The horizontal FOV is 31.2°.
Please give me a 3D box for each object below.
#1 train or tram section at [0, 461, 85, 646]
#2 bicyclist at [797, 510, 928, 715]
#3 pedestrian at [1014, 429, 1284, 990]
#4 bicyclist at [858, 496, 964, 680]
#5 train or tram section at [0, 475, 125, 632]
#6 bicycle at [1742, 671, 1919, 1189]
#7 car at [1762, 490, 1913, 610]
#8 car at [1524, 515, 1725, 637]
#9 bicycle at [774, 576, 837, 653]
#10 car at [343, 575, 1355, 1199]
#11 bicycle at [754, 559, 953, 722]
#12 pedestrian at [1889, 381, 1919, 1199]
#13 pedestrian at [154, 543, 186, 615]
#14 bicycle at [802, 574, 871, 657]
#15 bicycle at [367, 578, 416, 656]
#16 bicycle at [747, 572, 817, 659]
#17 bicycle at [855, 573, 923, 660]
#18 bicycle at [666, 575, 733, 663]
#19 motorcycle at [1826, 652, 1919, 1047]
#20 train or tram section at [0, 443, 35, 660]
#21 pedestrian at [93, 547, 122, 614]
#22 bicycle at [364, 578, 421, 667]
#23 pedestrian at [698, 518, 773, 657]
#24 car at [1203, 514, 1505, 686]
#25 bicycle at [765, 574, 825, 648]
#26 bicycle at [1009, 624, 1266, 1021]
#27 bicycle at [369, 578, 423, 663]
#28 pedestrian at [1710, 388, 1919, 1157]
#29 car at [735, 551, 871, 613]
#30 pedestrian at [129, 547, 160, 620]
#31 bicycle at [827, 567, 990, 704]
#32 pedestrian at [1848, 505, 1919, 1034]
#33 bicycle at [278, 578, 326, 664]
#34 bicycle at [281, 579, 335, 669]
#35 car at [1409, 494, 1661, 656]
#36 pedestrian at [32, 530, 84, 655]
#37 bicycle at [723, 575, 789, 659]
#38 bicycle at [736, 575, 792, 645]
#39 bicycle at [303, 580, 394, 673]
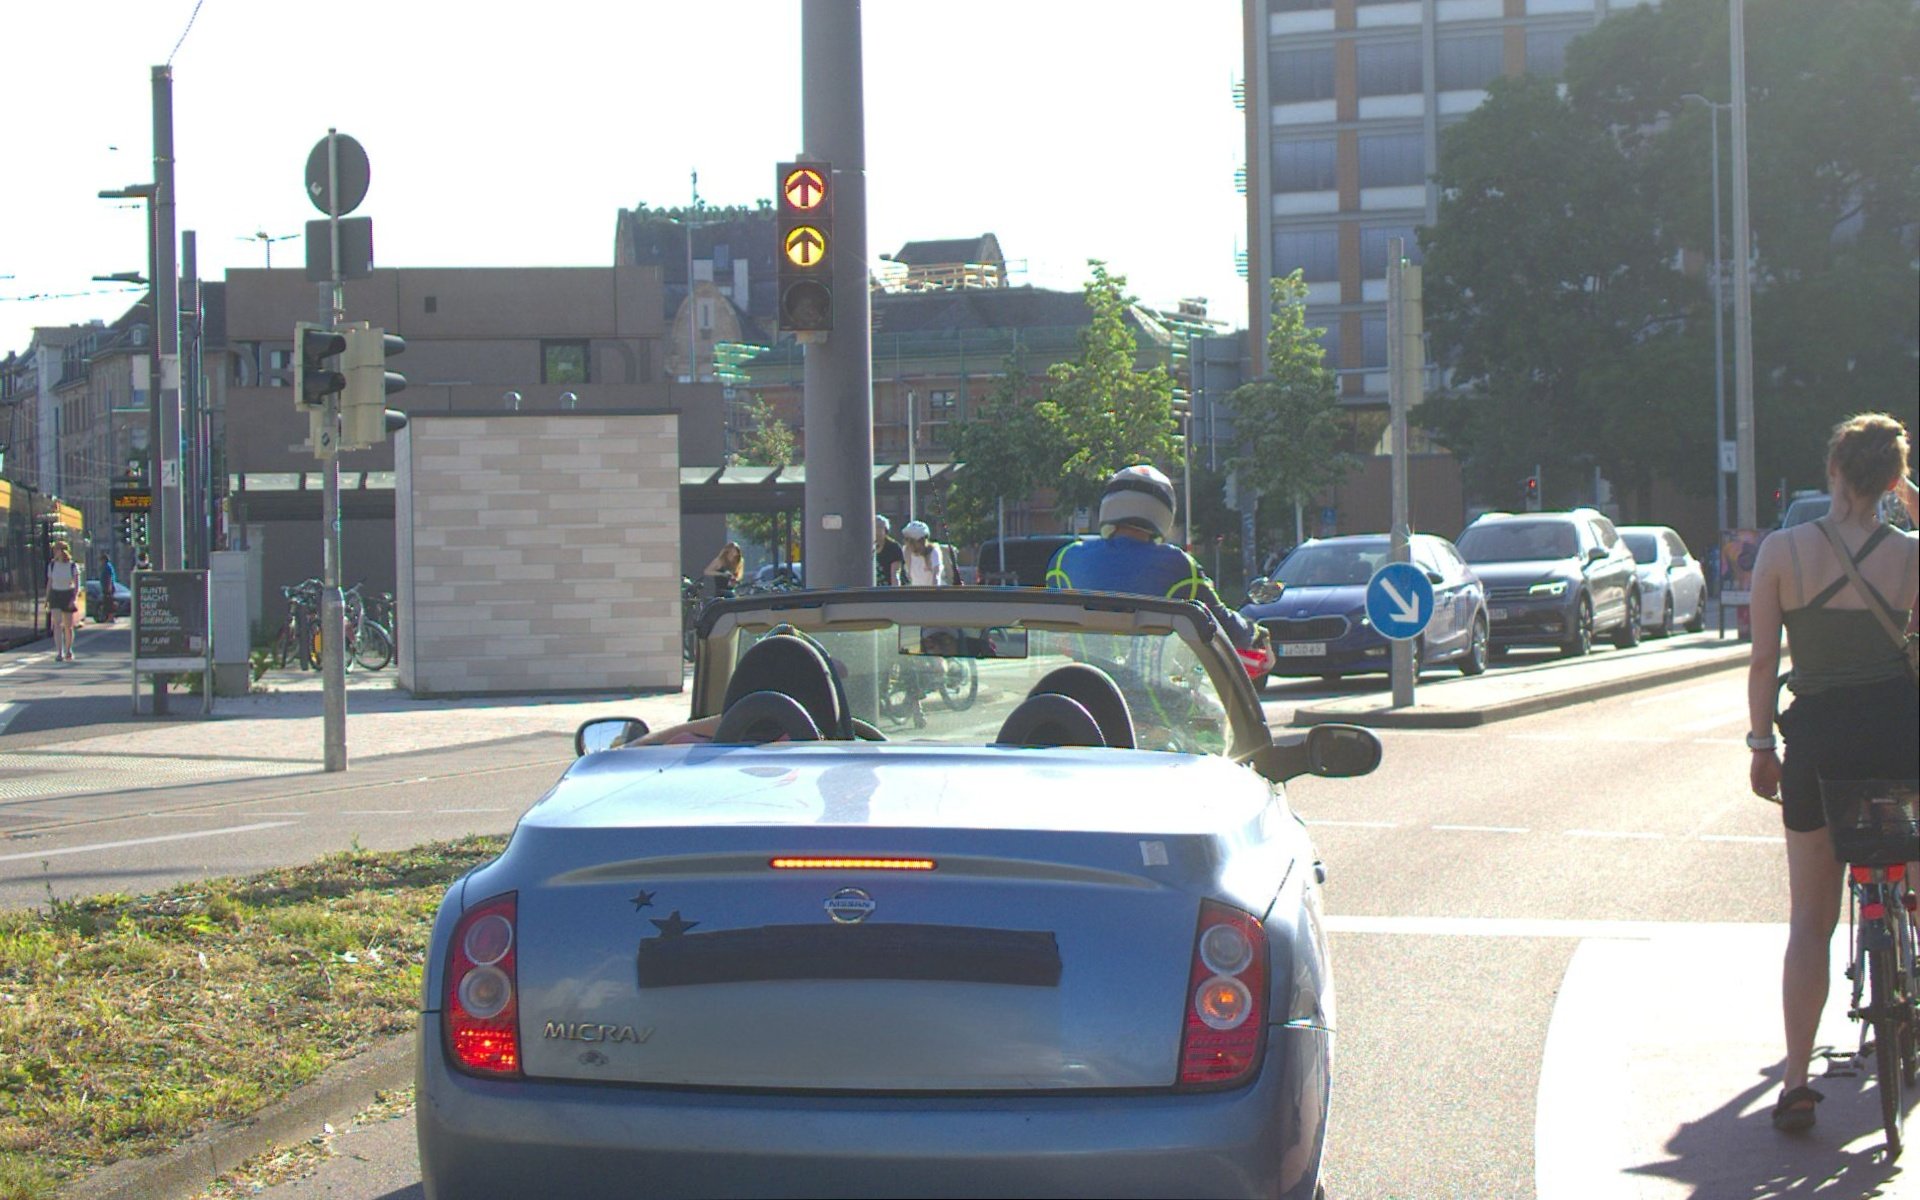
[{"bbox_3d":[-20.508,-0.996,72.673,3.011,3.584,12.203,1,1,-10],"label":"train or tram section"},{"bbox_3d":[-0.813,0.097,28.784,0.709,1.651,0.900,-3,0,22],"label":"bicyclist"},{"bbox_3d":[0.672,0.359,11.968,0.833,1.862,0.920,1,0,8],"label":"pedestrian"},{"bbox_3d":[-0.446,-0.109,31.392,0.709,1.651,0.742,-1,1,22],"label":"bicyclist"},{"bbox_3d":[-22.576,-1.145,84.600,3.039,3.584,12.055,1,1,-9],"label":"train or tram section"},{"bbox_3d":[2.367,0.792,8.980,0.564,1.147,1.948,1,1,14],"label":"bicycle"},{"bbox_3d":[15.408,-0.885,60.207,1.911,1.938,4.701,-2,0,21],"label":"car"},{"bbox_3d":[9.001,-0.349,46.332,1.697,1.555,3.974,-1,1,25],"label":"car"},{"bbox_3d":[-2.313,0.205,51.275,0.606,1.111,1.897,1,1,-12],"label":"bicycle"},{"bbox_3d":[0.032,0.676,7.695,1.660,1.436,4.153,1,1,6],"label":"car"},{"bbox_3d":[-0.858,0.316,28.642,0.675,1.246,2.454,-3,0,22],"label":"bicycle"},{"bbox_3d":[2.488,0.455,7.400,0.806,1.862,0.956,1,0,8],"label":"pedestrian"},{"bbox_3d":[-19.276,-0.508,83.881,0.637,1.743,0.736,-1,1,-19],"label":"pedestrian"},{"bbox_3d":[-1.721,0.201,47.587,0.606,1.111,1.897,1,1,-12],"label":"bicycle"},{"bbox_3d":[-8.330,0.242,50.342,0.606,1.111,1.897,1,1,-12],"label":"bicycle"},{"bbox_3d":[-2.357,0.189,45.267,0.606,1.111,1.897,1,1,-12],"label":"bicycle"},{"bbox_3d":[-0.947,0.205,45.569,0.606,1.111,1.897,1,1,-10],"label":"bicycle"},{"bbox_3d":[-3.430,0.234,45.126,0.606,1.111,1.897,1,1,-12],"label":"bicycle"},{"bbox_3d":[3.172,0.744,11.082,0.614,1.094,2.358,1,1,17],"label":"motorcycle"},{"bbox_3d":[-18.166,-0.855,60.683,2.880,3.584,12.203,1,1,-12],"label":"train or tram section"},{"bbox_3d":[-22.295,-0.518,89.929,0.604,1.743,0.832,-1,1,-8],"label":"pedestrian"},{"bbox_3d":[-7.340,0.275,44.404,0.606,1.111,1.897,1,1,-12],"label":"bicycle"},{"bbox_3d":[-3.054,-0.170,46.719,0.900,1.862,0.687,1,0,-12],"label":"pedestrian"},{"bbox_3d":[3.914,-0.015,33.636,1.739,1.568,3.919,1,1,25],"label":"car"},{"bbox_3d":[-2.561,0.159,53.246,0.606,1.111,1.897,1,1,-12],"label":"bicycle"},{"bbox_3d":[0.657,0.698,11.905,0.608,1.187,2.414,1,1,9],"label":"bicycle"},{"bbox_3d":[-7.629,0.264,46.467,0.606,1.111,1.897,1,1,-12],"label":"bicycle"},{"bbox_3d":[2.286,0.413,8.787,0.659,1.862,0.872,1,0,15],"label":"pedestrian"},{"bbox_3d":[-4.050,-0.458,88.485,1.640,1.555,3.599,-2,1,-39],"label":"car"},{"bbox_3d":[-19.752,-0.412,83.251,0.637,1.743,0.736,-1,1,-19],"label":"pedestrian"},{"bbox_3d":[-0.450,0.310,31.363,0.675,1.176,2.181,-1,1,22],"label":"bicycle"},{"bbox_3d":[3.132,0.510,10.817,0.588,1.593,1.024,1,0,17],"label":"pedestrian"},{"bbox_3d":[-8.799,0.273,45.998,0.606,1.111,1.897,1,1,-11],"label":"bicycle"},{"bbox_3d":[-8.365,0.298,44.073,0.606,1.111,1.897,1,1,-12],"label":"bicycle"},{"bbox_3d":[6.714,-0.315,39.760,1.763,1.700,4.525,-2,0,24],"label":"car"},{"bbox_3d":[-12.738,-0.106,48.535,0.637,1.743,0.572,-1,1,-19],"label":"pedestrian"},{"bbox_3d":[-2.808,0.222,47.199,0.606,1.111,1.897,1,1,-12],"label":"bicycle"},{"bbox_3d":[-3.246,0.155,56.752,0.606,1.111,1.897,1,1,-12],"label":"bicycle"},{"bbox_3d":[-7.545,0.315,42.468,0.607,1.111,1.896,1,1,5],"label":"bicycle"}]
